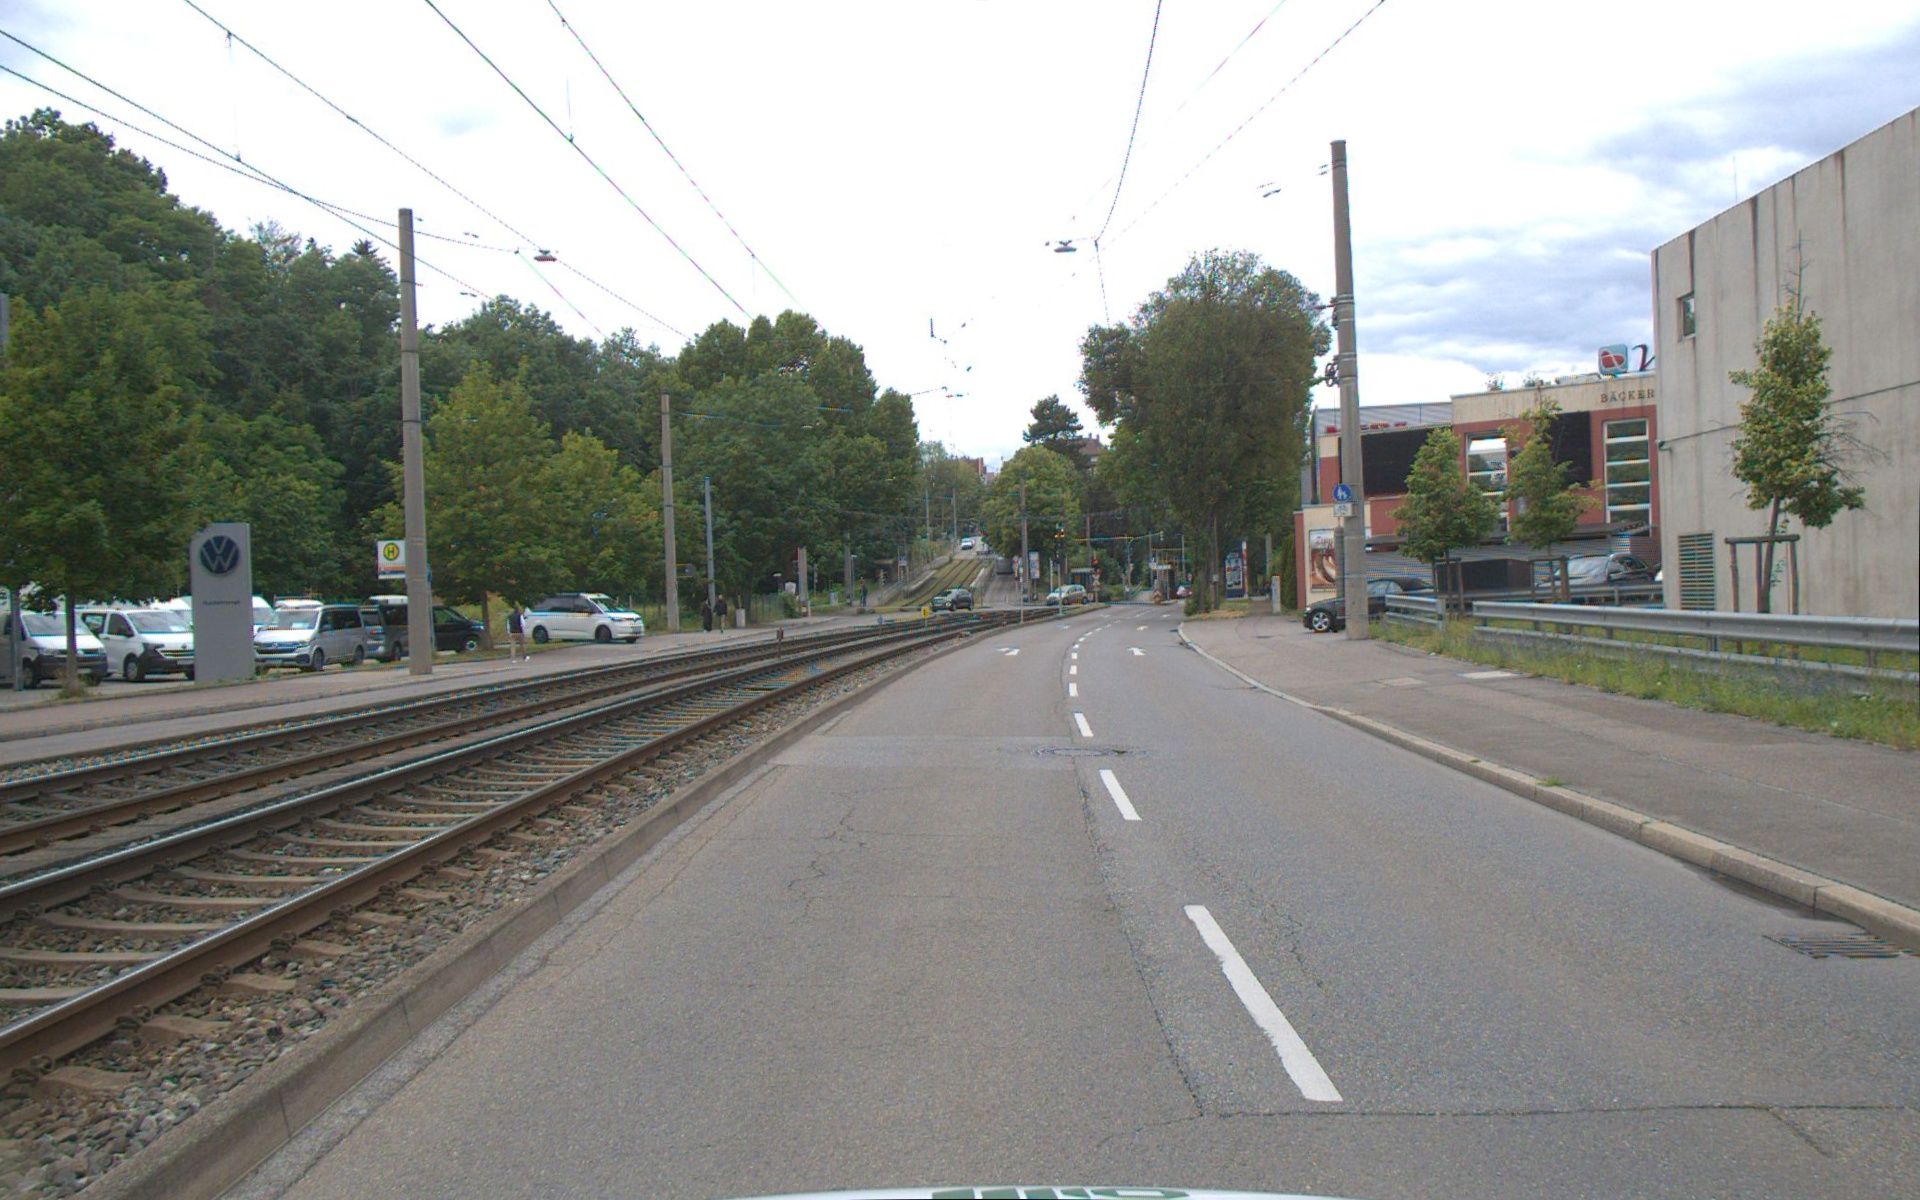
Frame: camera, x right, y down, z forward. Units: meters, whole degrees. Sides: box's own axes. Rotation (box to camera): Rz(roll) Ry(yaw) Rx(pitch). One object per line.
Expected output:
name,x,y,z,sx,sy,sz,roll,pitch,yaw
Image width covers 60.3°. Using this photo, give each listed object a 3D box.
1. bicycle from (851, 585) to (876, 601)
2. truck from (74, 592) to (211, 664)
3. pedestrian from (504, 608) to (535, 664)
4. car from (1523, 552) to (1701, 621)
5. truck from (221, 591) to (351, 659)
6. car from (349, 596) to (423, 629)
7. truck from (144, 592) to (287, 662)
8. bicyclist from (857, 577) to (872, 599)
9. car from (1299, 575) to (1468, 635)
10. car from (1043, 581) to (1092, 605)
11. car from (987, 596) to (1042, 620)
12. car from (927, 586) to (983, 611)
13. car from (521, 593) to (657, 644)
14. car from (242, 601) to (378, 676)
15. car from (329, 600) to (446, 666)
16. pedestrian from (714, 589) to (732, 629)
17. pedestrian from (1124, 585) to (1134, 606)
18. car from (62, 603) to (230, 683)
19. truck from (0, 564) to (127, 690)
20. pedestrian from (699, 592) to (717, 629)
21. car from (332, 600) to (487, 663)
bicycle,-8.643,-0.607,147.640,0.816,1.367,2.961,-2,0,-33
truck,-32.507,1.122,65.752,4.960,2.633,2.465,-2,0,29
pedestrian,-13.482,1.085,50.623,0.703,1.684,1.042,0,0,-3
car,16.916,-0.364,42.876,4.467,1.575,2.136,-3,1,-34
truck,-28.546,1.051,70.025,4.960,2.633,2.465,-2,0,29
car,-38.607,0.812,111.252,1.959,2.049,4.388,-2,0,35
truck,-30.795,1.134,68.376,5.650,2.633,2.465,-2,0,29
bicyclist,-8.511,-1.088,147.419,0.814,1.881,1.039,-2,0,-34
car,11.660,0.148,45.584,4.144,1.468,1.759,-3,0,33
car,8.606,-0.595,131.910,1.859,1.558,4.241,-5,0,36
car,3.739,0.511,112.764,1.955,1.542,4.495,-1,0,28
car,-0.349,-0.132,117.195,1.659,1.558,4.238,-5,-2,37
car,-14.717,0.732,65.659,4.954,1.921,2.165,-1,0,24
car,-19.651,1.121,50.243,1.952,2.049,4.920,-2,0,2
car,-19.448,1.084,56.440,1.952,2.049,5.131,-2,0,2
pedestrian,-11.256,0.427,78.617,0.662,1.845,0.856,0,0,7
pedestrian,15.061,-0.396,147.236,0.752,1.885,0.911,-2,-1,7
car,-22.838,1.206,46.374,4.629,2.049,1.996,-2,0,31
truck,-24.904,0.751,44.131,5.814,3.138,2.114,-2,0,34
pedestrian,-12.001,0.512,78.680,0.614,1.743,0.856,0,0,7
car,-20.243,1.141,60.836,5.010,2.049,2.142,-3,0,-33
